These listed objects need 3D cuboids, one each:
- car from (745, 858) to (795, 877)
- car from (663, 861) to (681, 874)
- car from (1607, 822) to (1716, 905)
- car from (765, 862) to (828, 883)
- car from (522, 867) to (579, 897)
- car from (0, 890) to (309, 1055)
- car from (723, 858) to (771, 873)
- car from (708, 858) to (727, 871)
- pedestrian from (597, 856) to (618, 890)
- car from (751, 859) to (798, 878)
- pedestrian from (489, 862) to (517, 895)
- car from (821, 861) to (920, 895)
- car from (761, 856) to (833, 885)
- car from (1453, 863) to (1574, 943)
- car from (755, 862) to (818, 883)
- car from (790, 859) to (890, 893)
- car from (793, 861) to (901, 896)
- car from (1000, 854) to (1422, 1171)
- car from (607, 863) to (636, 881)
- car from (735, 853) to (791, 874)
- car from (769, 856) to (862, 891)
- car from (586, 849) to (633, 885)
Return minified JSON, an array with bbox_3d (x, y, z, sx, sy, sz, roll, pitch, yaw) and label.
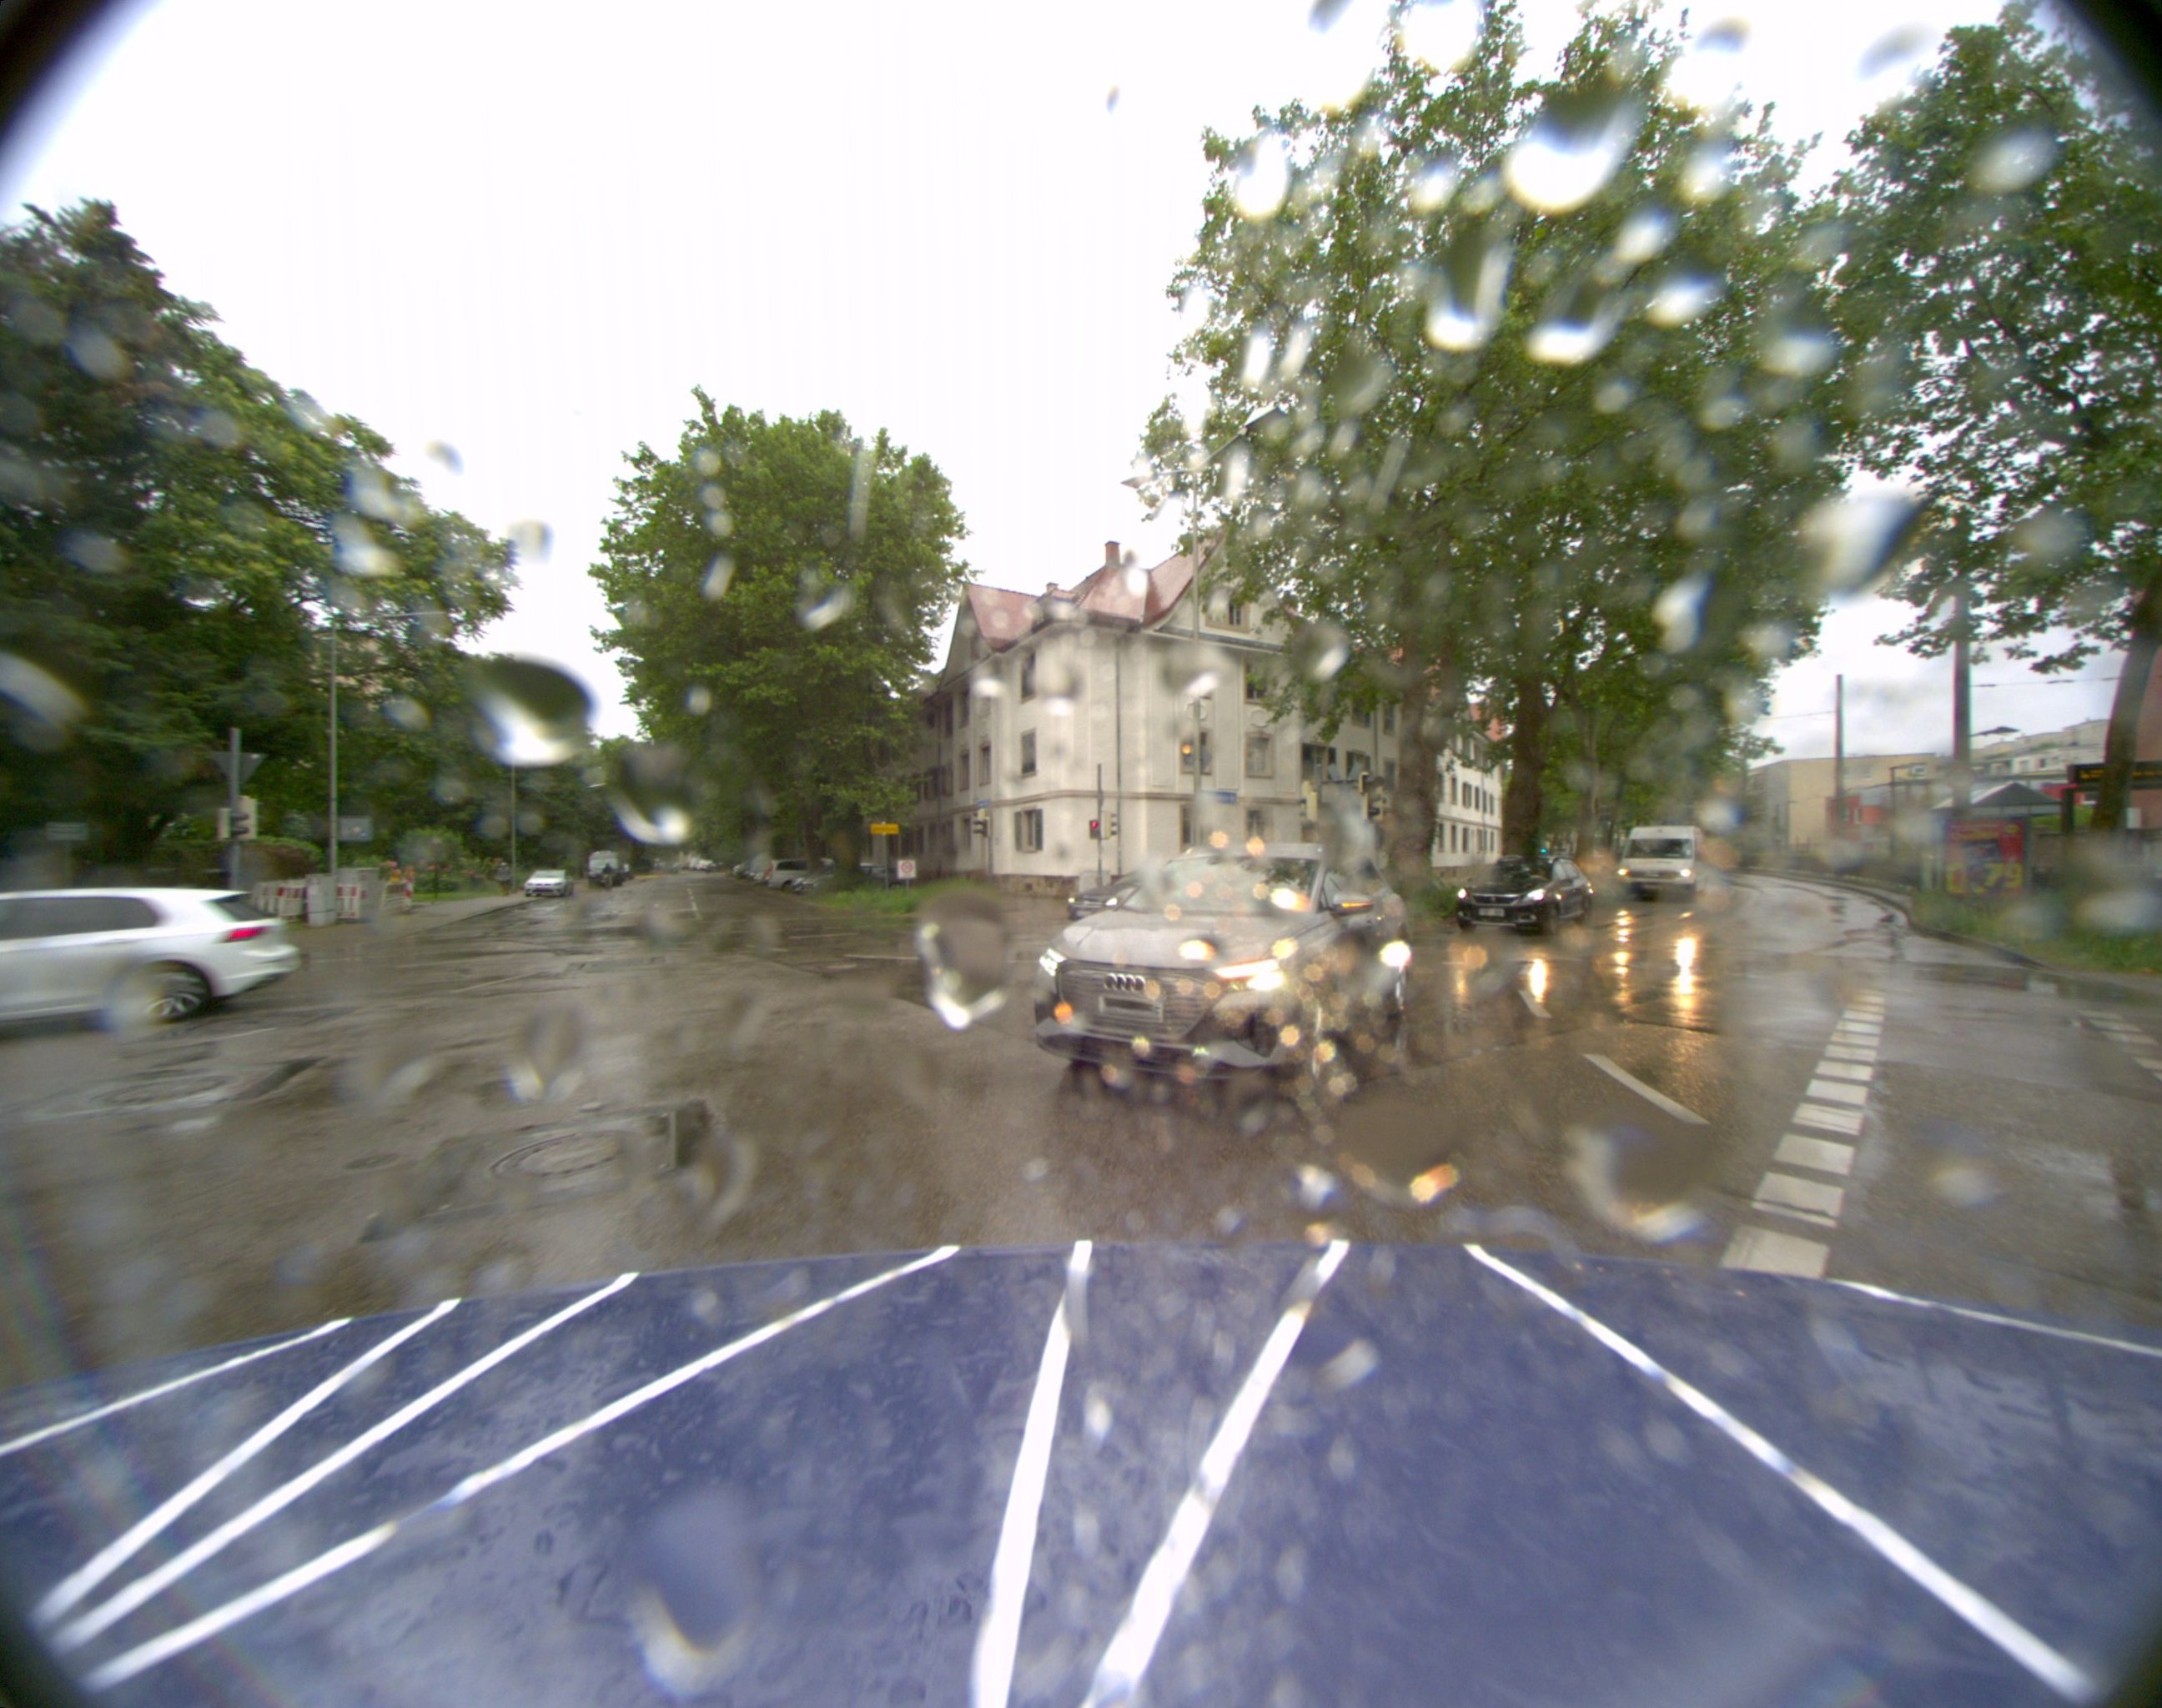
[{"bbox_3d":[-28.682,1.249,70.046,4.117,1.680,1.824,0,0,-27],"label":"car"},{"bbox_3d":[-58.404,1.920,108.514,2.003,1.795,4.339,-1,0,-31],"label":"car"},{"bbox_3d":[20.387,0.251,26.535,2.278,2.547,6.525,0,1,44],"label":"car"},{"bbox_3d":[-21.941,1.399,58.624,4.417,1.575,1.923,0,0,-27],"label":"car"},{"bbox_3d":[-28.497,1.445,40.923,1.825,1.451,4.263,-1,0,-26],"label":"car"},{"bbox_3d":[-11.072,1.200,7.662,4.407,1.425,1.778,-1,1,-39],"label":"car"},{"bbox_3d":[-36.369,1.210,82.734,4.679,1.595,2.029,0,0,-27],"label":"car"},{"bbox_3d":[-53.536,1.554,111.806,2.003,1.795,3.990,-1,0,-32],"label":"car"},{"bbox_3d":[-28.768,1.127,46.175,0.945,2.050,1.078,0,0,-24],"label":"pedestrian"},{"bbox_3d":[-27.435,1.254,68.000,3.728,1.680,1.933,0,0,-27],"label":"car"},{"bbox_3d":[-29.402,1.249,38.686,0.945,1.650,0.927,0,0,-24],"label":"pedestrian"},{"bbox_3d":[-9.630,1.058,34.796,4.006,1.346,1.793,-2,0,-31],"label":"car"},{"bbox_3d":[-19.673,1.129,52.702,4.450,1.888,2.029,0,0,-29],"label":"car"},{"bbox_3d":[9.104,0.903,15.823,1.849,1.435,4.009,0,0,35],"label":"car"},{"bbox_3d":[-23.488,1.451,60.599,4.536,1.561,2.029,0,0,-27],"label":"car"},{"bbox_3d":[-12.452,1.110,39.286,4.679,1.680,2.029,0,0,-27],"label":"car"},{"bbox_3d":[-11.388,1.151,37.016,4.748,1.613,1.926,0,0,-29],"label":"car"},{"bbox_3d":[1.383,0.826,6.077,1.805,1.611,4.146,0,-1,33],"label":"car"},{"bbox_3d":[-42.597,1.625,70.522,2.003,1.530,3.991,-1,0,-28],"label":"car"},{"bbox_3d":[-31.800,0.964,75.987,5.098,2.012,2.029,0,0,-27],"label":"car"},{"bbox_3d":[-14.797,1.059,42.446,4.679,1.862,2.029,0,0,-27],"label":"car"},{"bbox_3d":[-34.540,0.924,55.777,2.406,2.460,5.680,0,-1,-26],"label":"car"}]
